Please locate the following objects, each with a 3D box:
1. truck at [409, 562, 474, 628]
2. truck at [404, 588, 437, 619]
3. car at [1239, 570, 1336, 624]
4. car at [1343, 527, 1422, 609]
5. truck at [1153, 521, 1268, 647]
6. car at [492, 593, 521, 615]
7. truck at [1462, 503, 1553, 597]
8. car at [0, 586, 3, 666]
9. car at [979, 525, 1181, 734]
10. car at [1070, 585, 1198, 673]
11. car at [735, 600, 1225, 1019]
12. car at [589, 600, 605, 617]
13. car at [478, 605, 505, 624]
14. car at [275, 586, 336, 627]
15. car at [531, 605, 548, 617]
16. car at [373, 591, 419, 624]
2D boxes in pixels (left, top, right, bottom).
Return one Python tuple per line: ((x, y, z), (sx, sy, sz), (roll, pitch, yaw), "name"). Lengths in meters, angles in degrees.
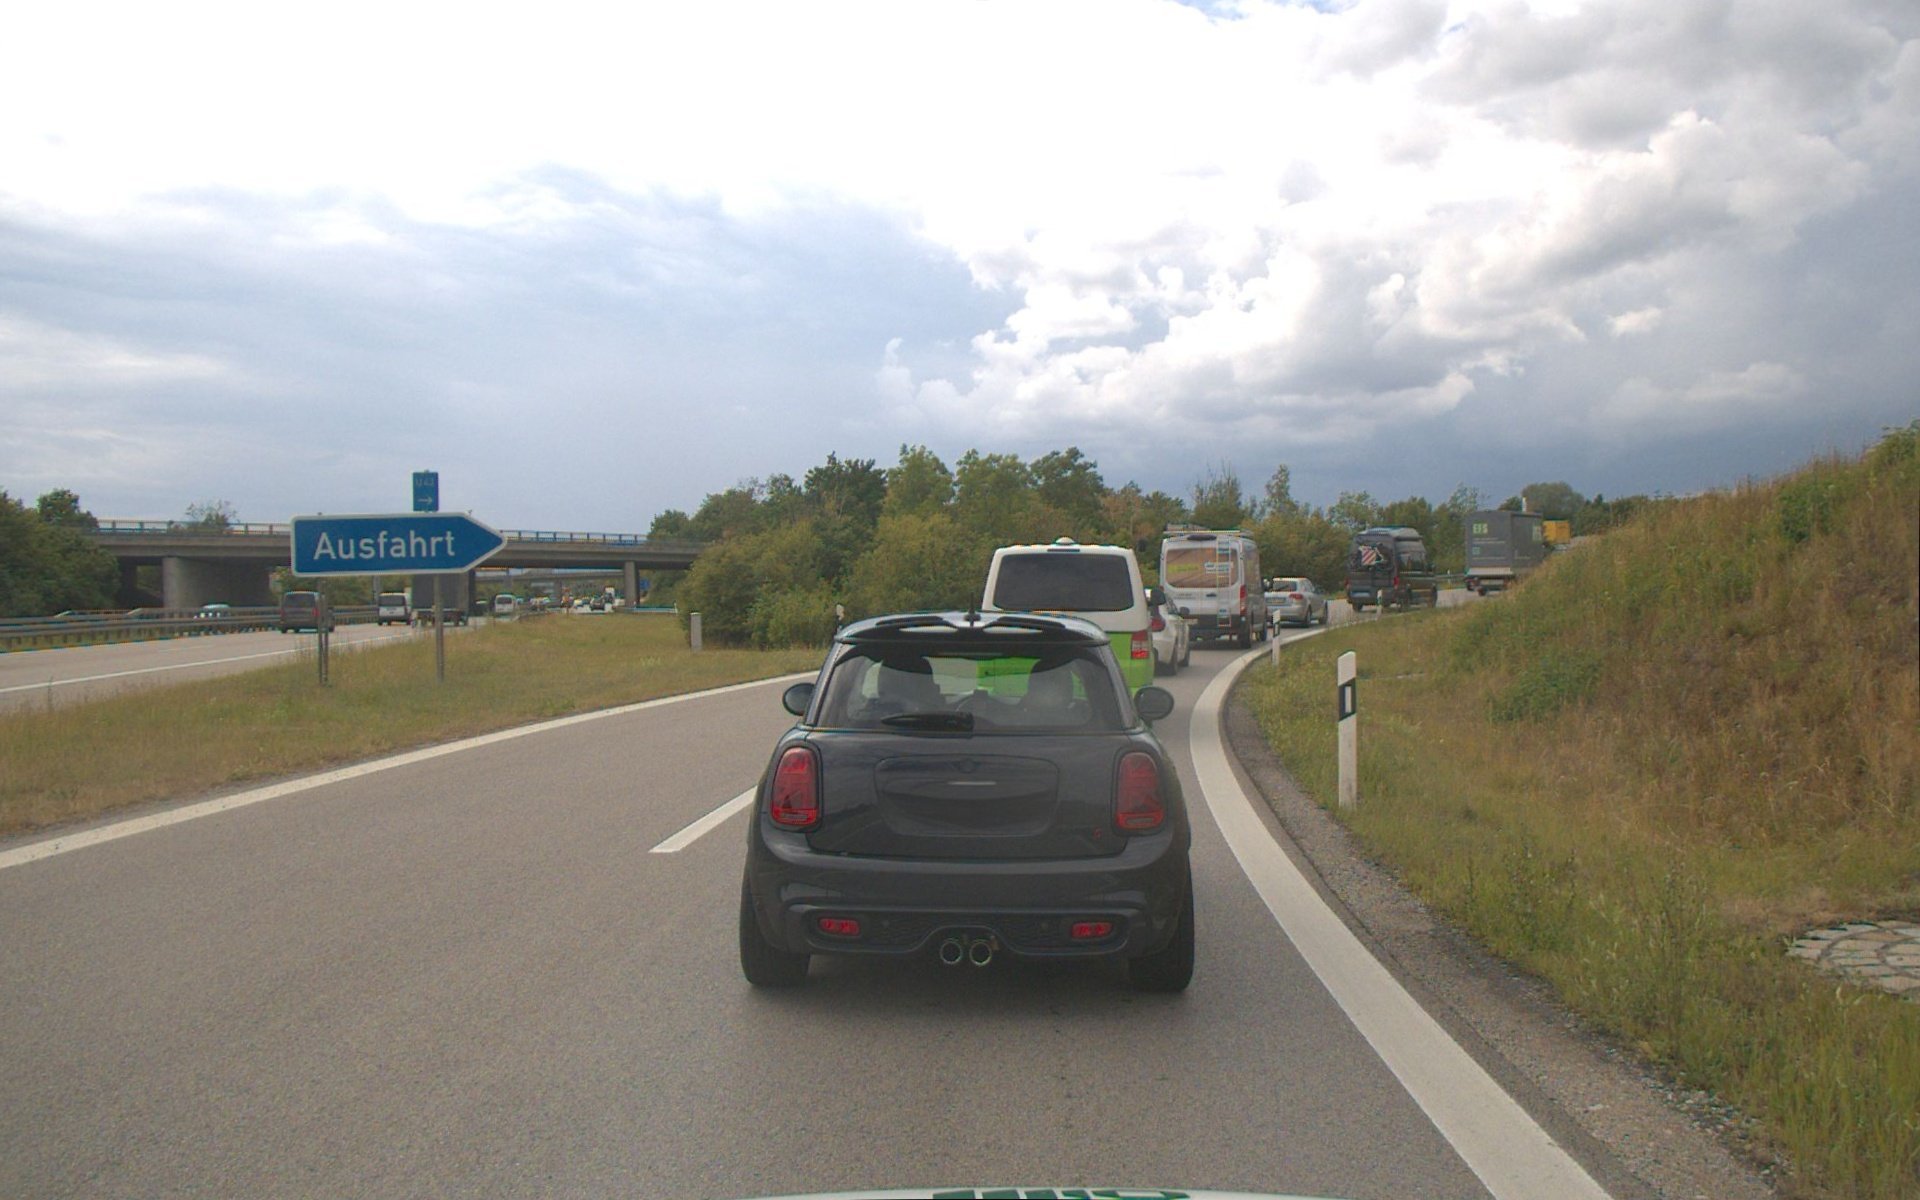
((-28.335, -0.247, 90.616), (2.423, 3.430, 7.902), (-1, 0, -11), "truck")
((-64.575, 0.416, 198.224), (2.709, 3.710, 8.175), (-1, 0, -11), "truck")
((9.742, -0.087, 49.029), (1.830, 1.536, 3.996), (0, 0, 26), "car")
((15.218, -1.124, 59.453), (2.063, 2.845, 3.998), (1, 0, 25), "car")
((5.889, -0.382, 38.369), (2.132, 2.705, 5.113), (0, 1, 14), "truck")
((-36.602, 0.321, 133.594), (1.842, 1.782, 4.476), (-1, 0, -10), "car")
((24.841, -2.191, 74.845), (2.191, 3.975, 5.992), (0, -1, 36), "truck")
((-21.765, 0.603, 34.145), (1.958, 1.774, 4.816), (-1, 0, -11), "car")
((1.445, 0.279, 18.396), (1.746, 2.049, 4.003), (0, 0, 11), "car")
((3.077, 0.471, 28.694), (1.724, 1.423, 3.728), (-1, 0, 13), "car")
((0.032, 0.728, 7.598), (1.692, 1.438, 3.724), (0, 0, -1), "car")
((-46.024, 1.054, 209.557), (1.959, 2.049, 3.987), (1, -1, -12), "car")
((-45.661, 1.379, 161.373), (1.957, 1.817, 5.398), (-1, 0, -10), "car")
((-29.742, 0.265, 75.244), (1.812, 1.789, 4.324), (-1, 0, -11), "car")
((-52.376, 1.318, 206.135), (1.691, 1.449, 4.785), (-1, 0, -11), "car")
((-33.191, 0.439, 97.421), (1.957, 1.842, 3.990), (-1, 0, -10), "car")
